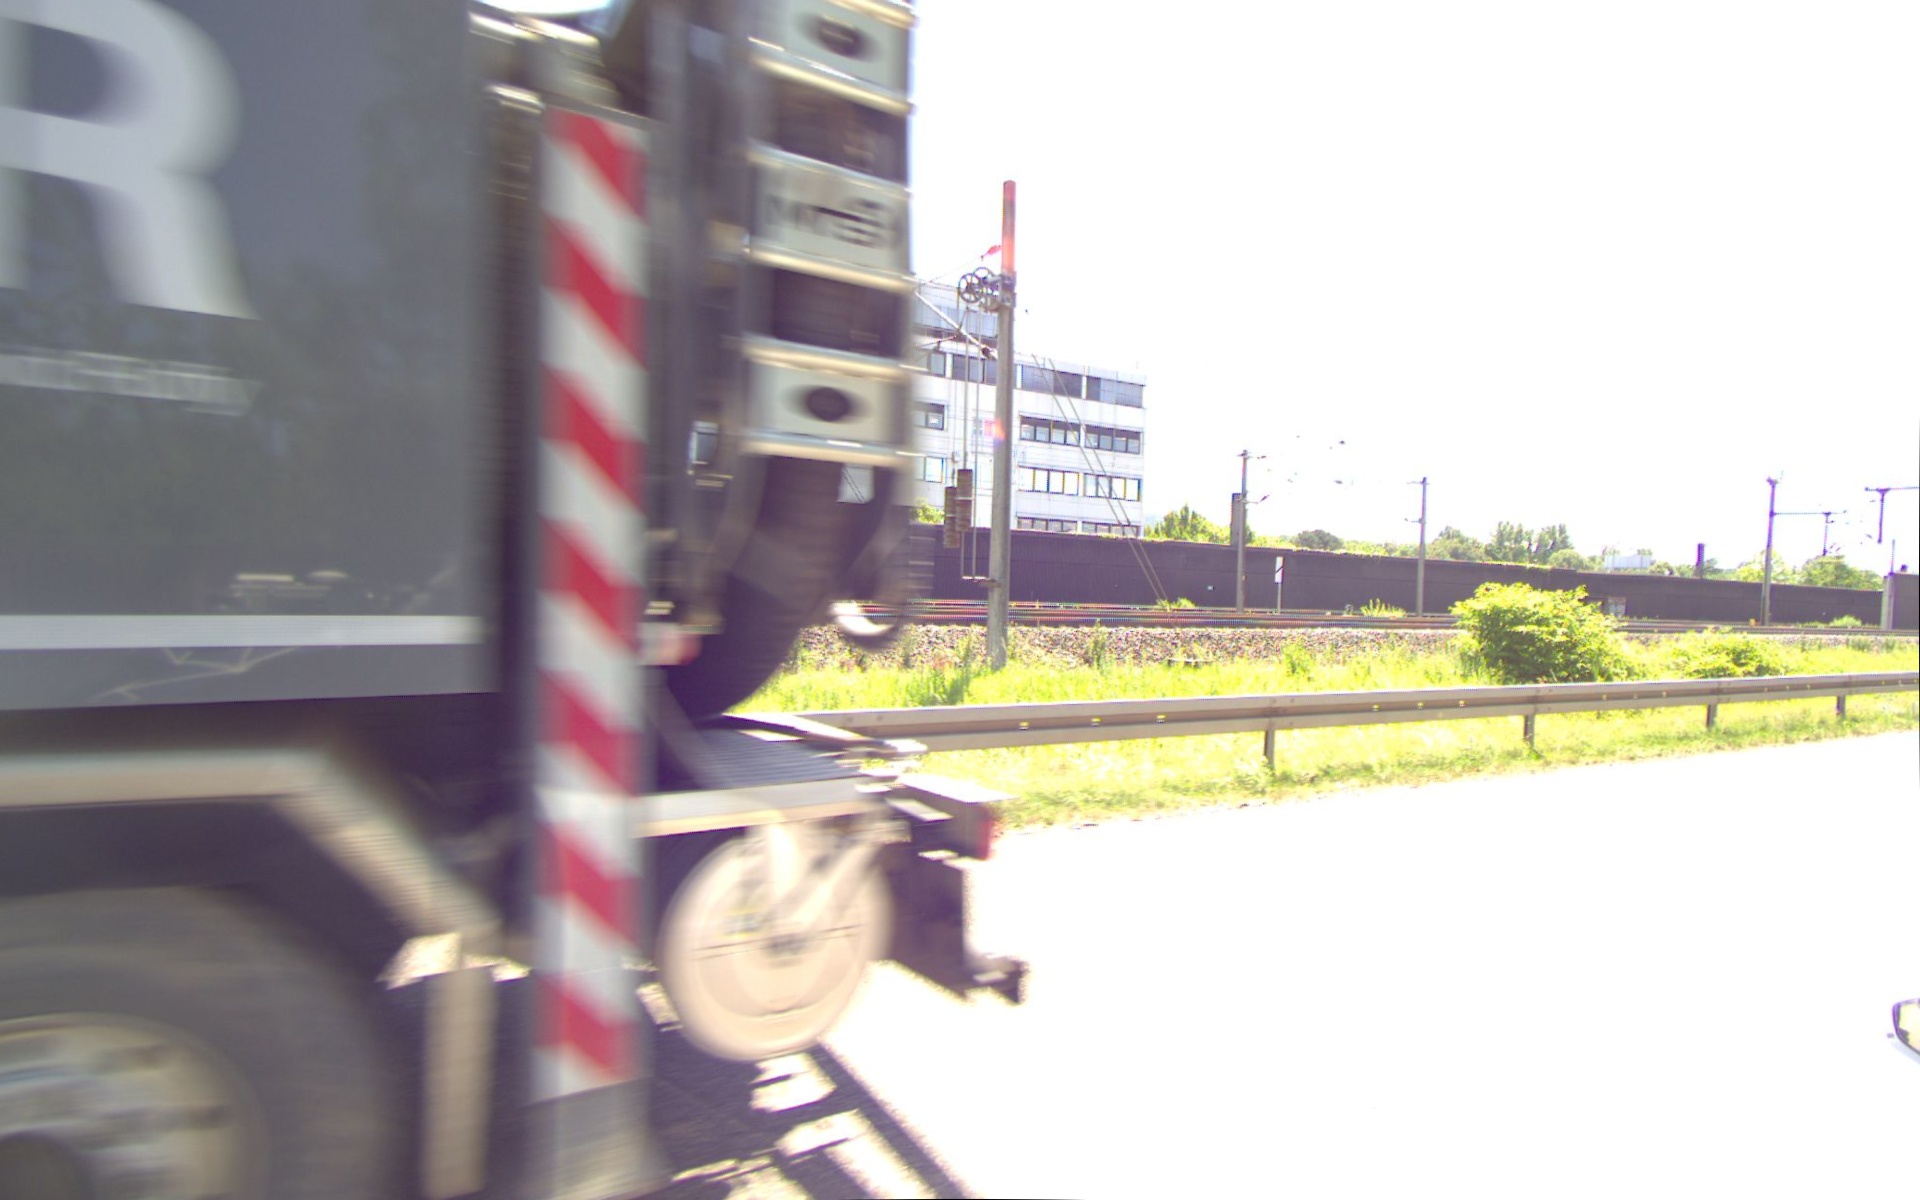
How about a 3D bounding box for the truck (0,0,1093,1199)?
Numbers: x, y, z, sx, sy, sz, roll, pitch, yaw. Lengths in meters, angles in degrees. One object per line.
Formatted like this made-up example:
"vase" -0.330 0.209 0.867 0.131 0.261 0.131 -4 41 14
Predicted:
"truck" -4.996 -0.525 0.630 10.853 3.675 2.644 1 0 -32
